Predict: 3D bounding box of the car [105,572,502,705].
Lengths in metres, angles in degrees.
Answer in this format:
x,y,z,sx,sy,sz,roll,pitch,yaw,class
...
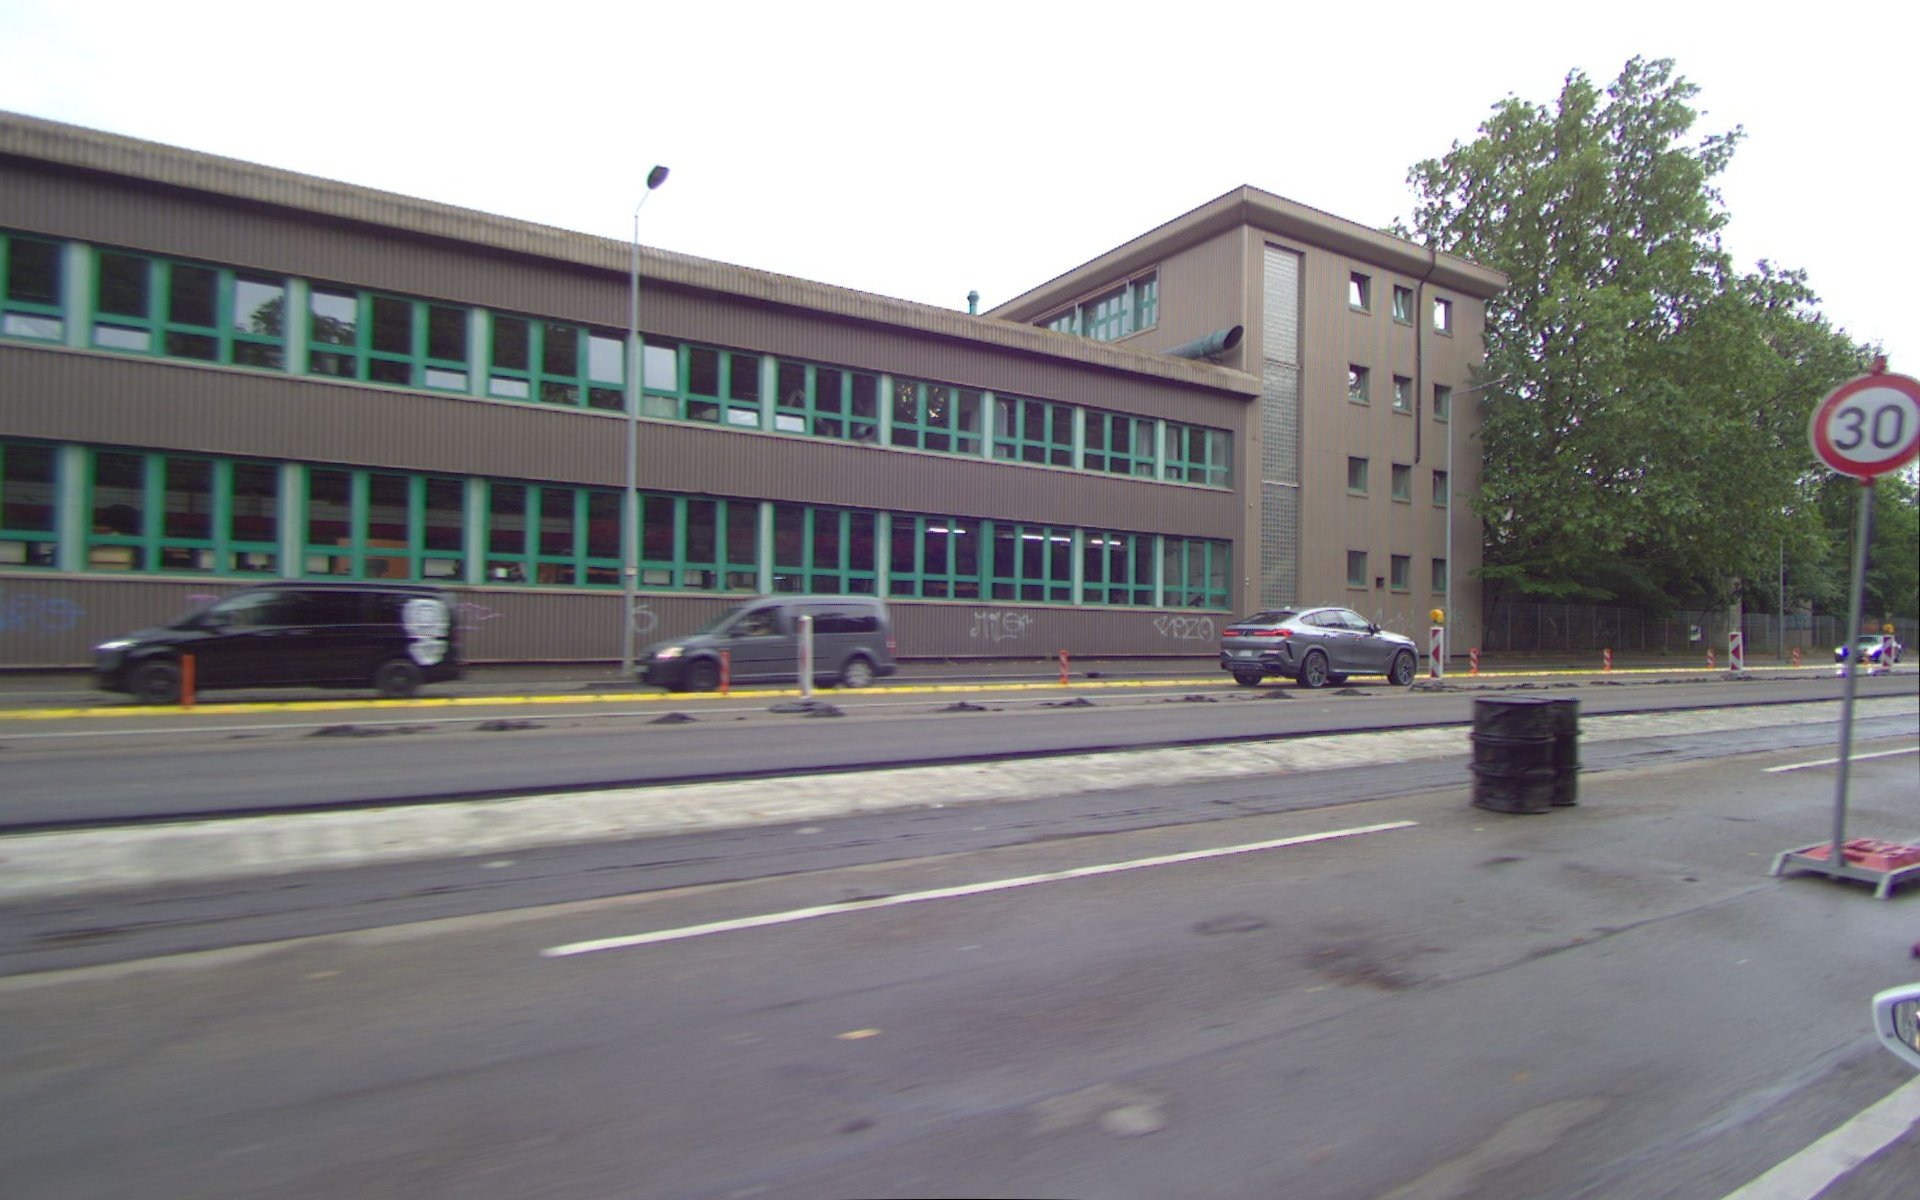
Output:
x,y,z,sx,sy,sz,roll,pitch,yaw,class
-10.762,0.628,16.953,5.306,1.944,1.982,2,-1,-33,car

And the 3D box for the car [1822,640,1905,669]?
x,y,z,sx,sy,sz,roll,pitch,yaw,class
47.520,2.857,52.800,4.736,1.366,1.983,2,-1,-31,car

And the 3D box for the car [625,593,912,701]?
x,y,z,sx,sy,sz,roll,pitch,yaw,class
-3.534,0.842,18.839,4.898,1.804,1.983,2,0,-31,car

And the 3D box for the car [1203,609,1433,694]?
x,y,z,sx,sy,sz,roll,pitch,yaw,class
7.814,1.065,21.789,5.000,1.634,2.065,2,-1,-32,car
